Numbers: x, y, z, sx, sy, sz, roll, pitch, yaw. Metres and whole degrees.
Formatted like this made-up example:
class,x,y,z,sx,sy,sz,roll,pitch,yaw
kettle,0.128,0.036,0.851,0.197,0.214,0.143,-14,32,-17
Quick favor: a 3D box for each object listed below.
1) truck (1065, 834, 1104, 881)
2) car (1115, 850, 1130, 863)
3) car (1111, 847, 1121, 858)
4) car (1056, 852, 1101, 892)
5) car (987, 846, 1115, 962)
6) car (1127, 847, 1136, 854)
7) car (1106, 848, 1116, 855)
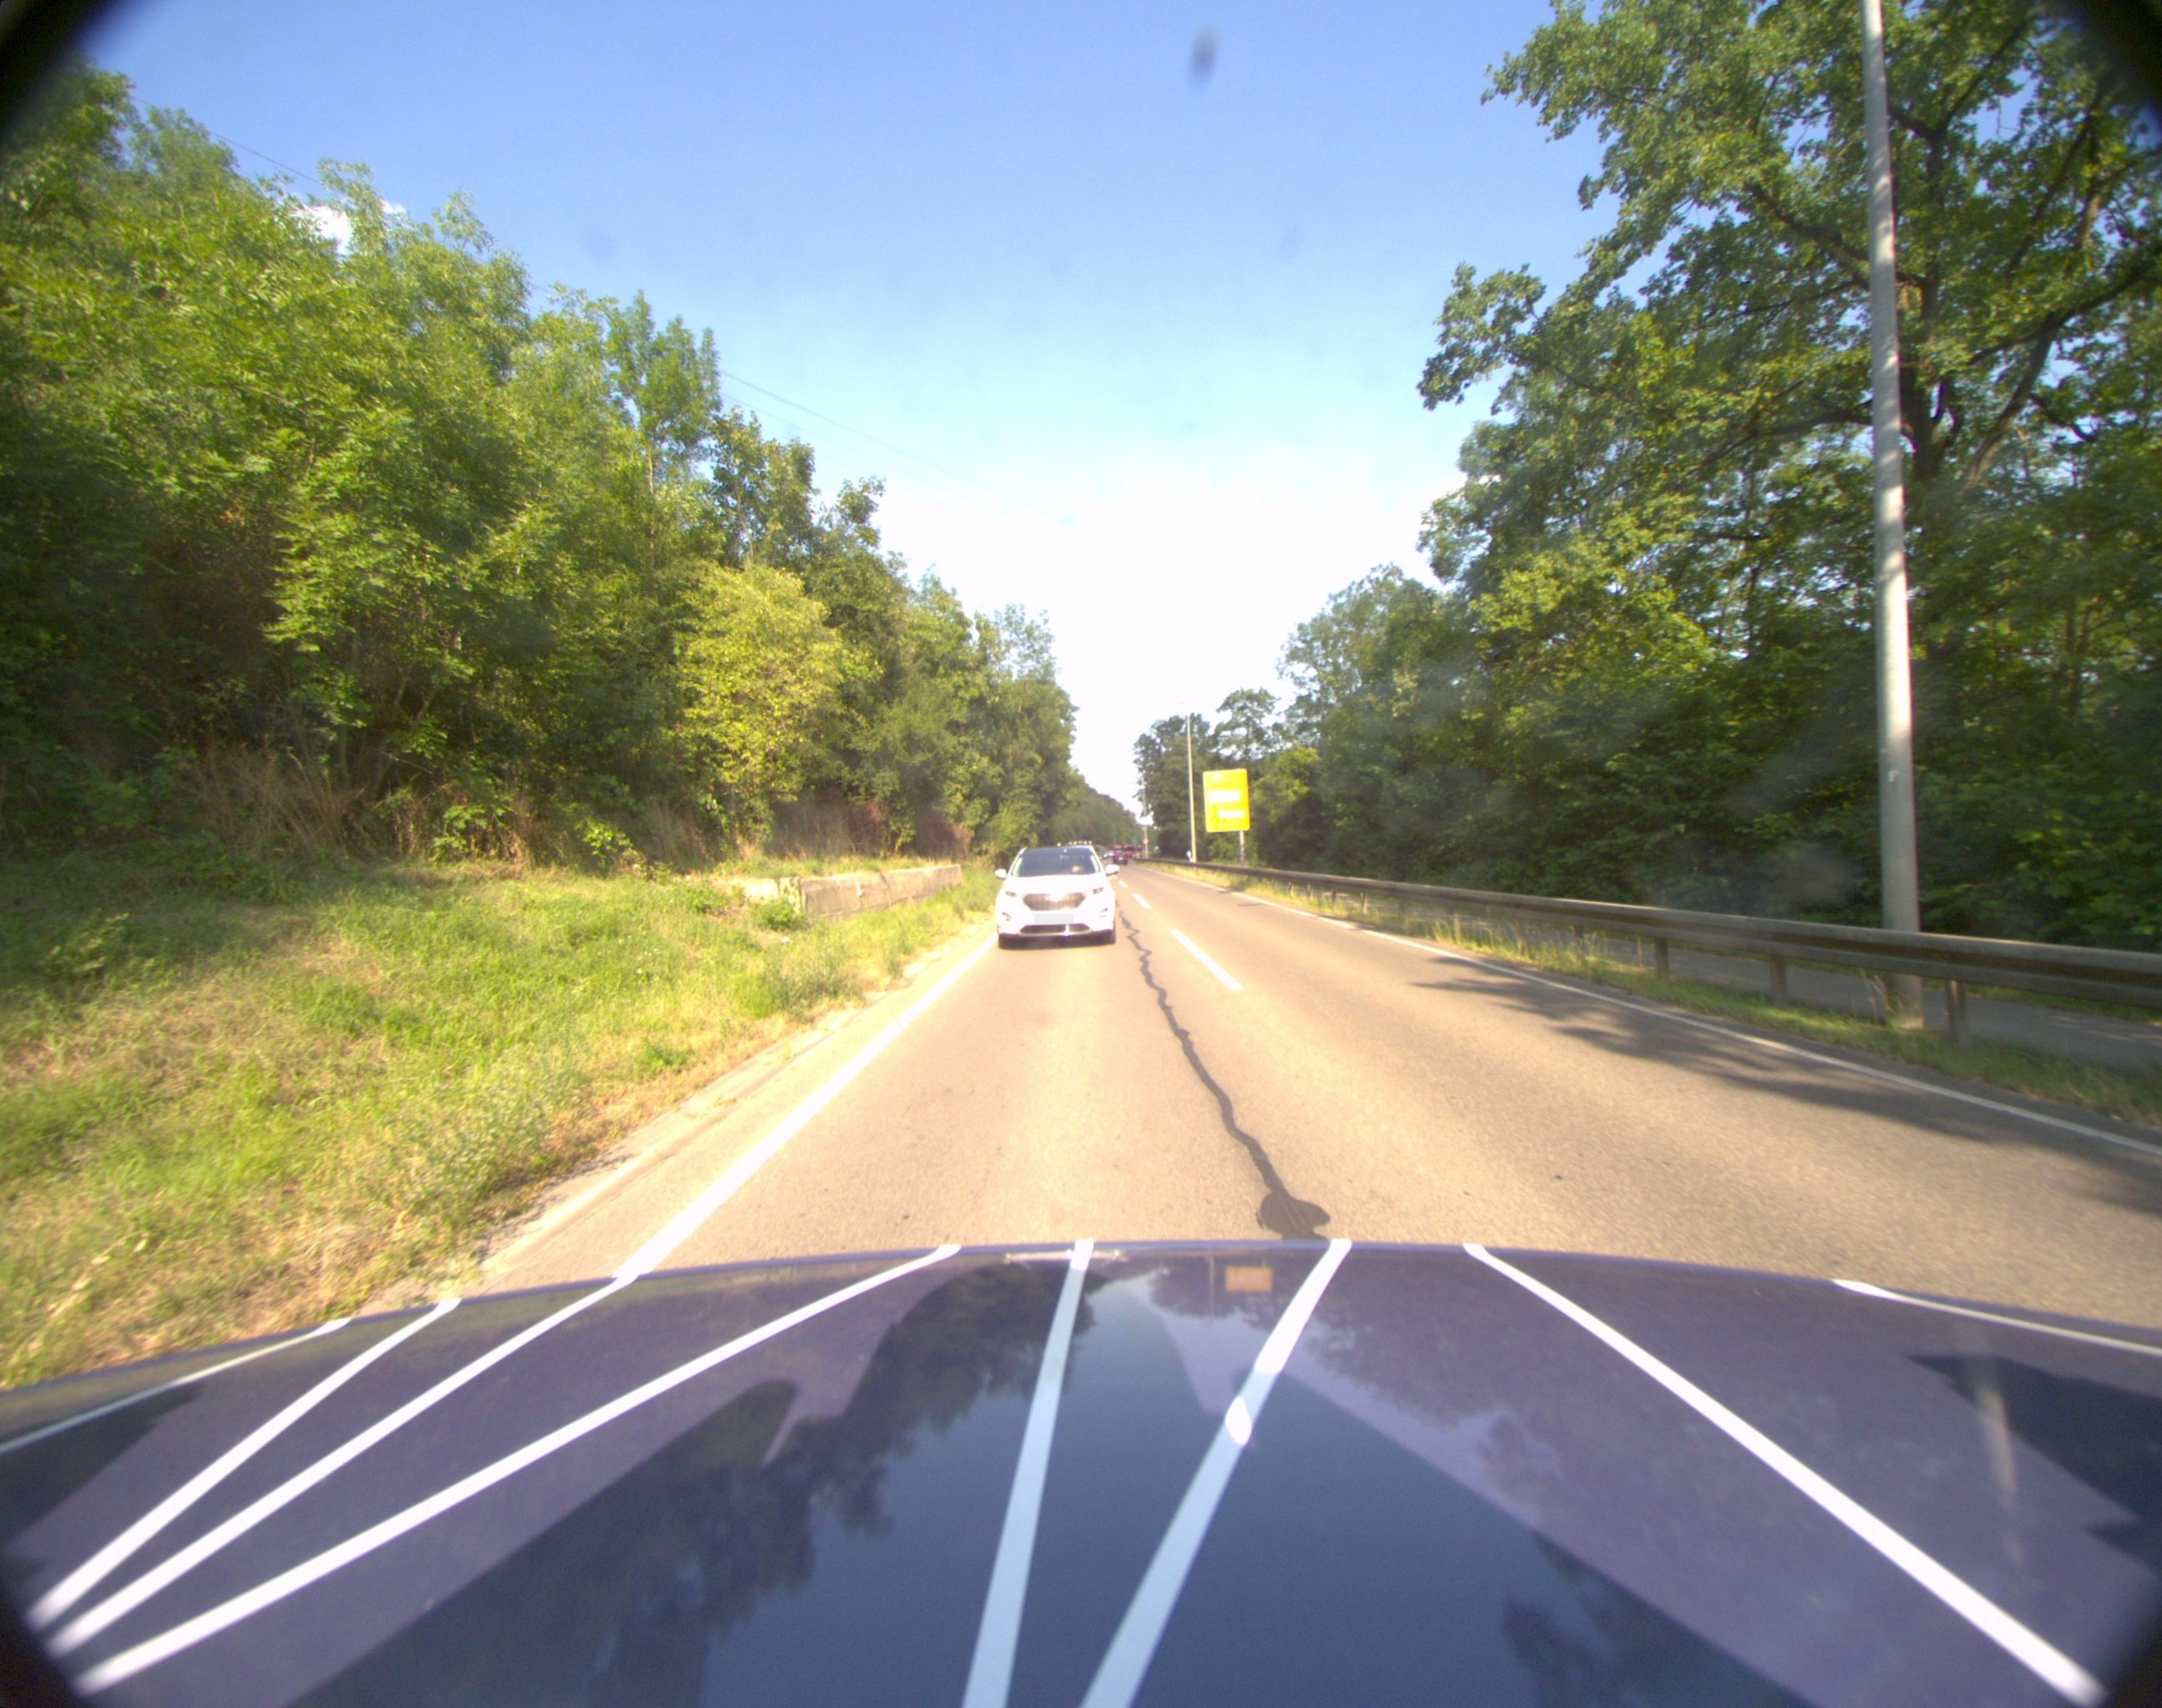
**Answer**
class,x,y,z,sx,sy,sz,roll,pitch,yaw
truck,0.222,0.166,42.454,1.894,2.334,5.273,-3,0,1
car,5.054,0.293,92.017,1.696,1.412,4.142,-1,1,2
car,6.033,-0.267,130.752,1.752,1.707,4.221,-1,0,3
car,-0.062,0.707,31.954,1.704,1.477,4.136,-3,0,1
car,-0.424,0.748,13.575,1.894,1.691,4.136,-2,0,1
car,10.425,-0.731,155.807,1.685,1.434,4.000,-2,1,5
car,7.251,-0.644,181.941,1.997,1.647,4.002,-1,0,8
